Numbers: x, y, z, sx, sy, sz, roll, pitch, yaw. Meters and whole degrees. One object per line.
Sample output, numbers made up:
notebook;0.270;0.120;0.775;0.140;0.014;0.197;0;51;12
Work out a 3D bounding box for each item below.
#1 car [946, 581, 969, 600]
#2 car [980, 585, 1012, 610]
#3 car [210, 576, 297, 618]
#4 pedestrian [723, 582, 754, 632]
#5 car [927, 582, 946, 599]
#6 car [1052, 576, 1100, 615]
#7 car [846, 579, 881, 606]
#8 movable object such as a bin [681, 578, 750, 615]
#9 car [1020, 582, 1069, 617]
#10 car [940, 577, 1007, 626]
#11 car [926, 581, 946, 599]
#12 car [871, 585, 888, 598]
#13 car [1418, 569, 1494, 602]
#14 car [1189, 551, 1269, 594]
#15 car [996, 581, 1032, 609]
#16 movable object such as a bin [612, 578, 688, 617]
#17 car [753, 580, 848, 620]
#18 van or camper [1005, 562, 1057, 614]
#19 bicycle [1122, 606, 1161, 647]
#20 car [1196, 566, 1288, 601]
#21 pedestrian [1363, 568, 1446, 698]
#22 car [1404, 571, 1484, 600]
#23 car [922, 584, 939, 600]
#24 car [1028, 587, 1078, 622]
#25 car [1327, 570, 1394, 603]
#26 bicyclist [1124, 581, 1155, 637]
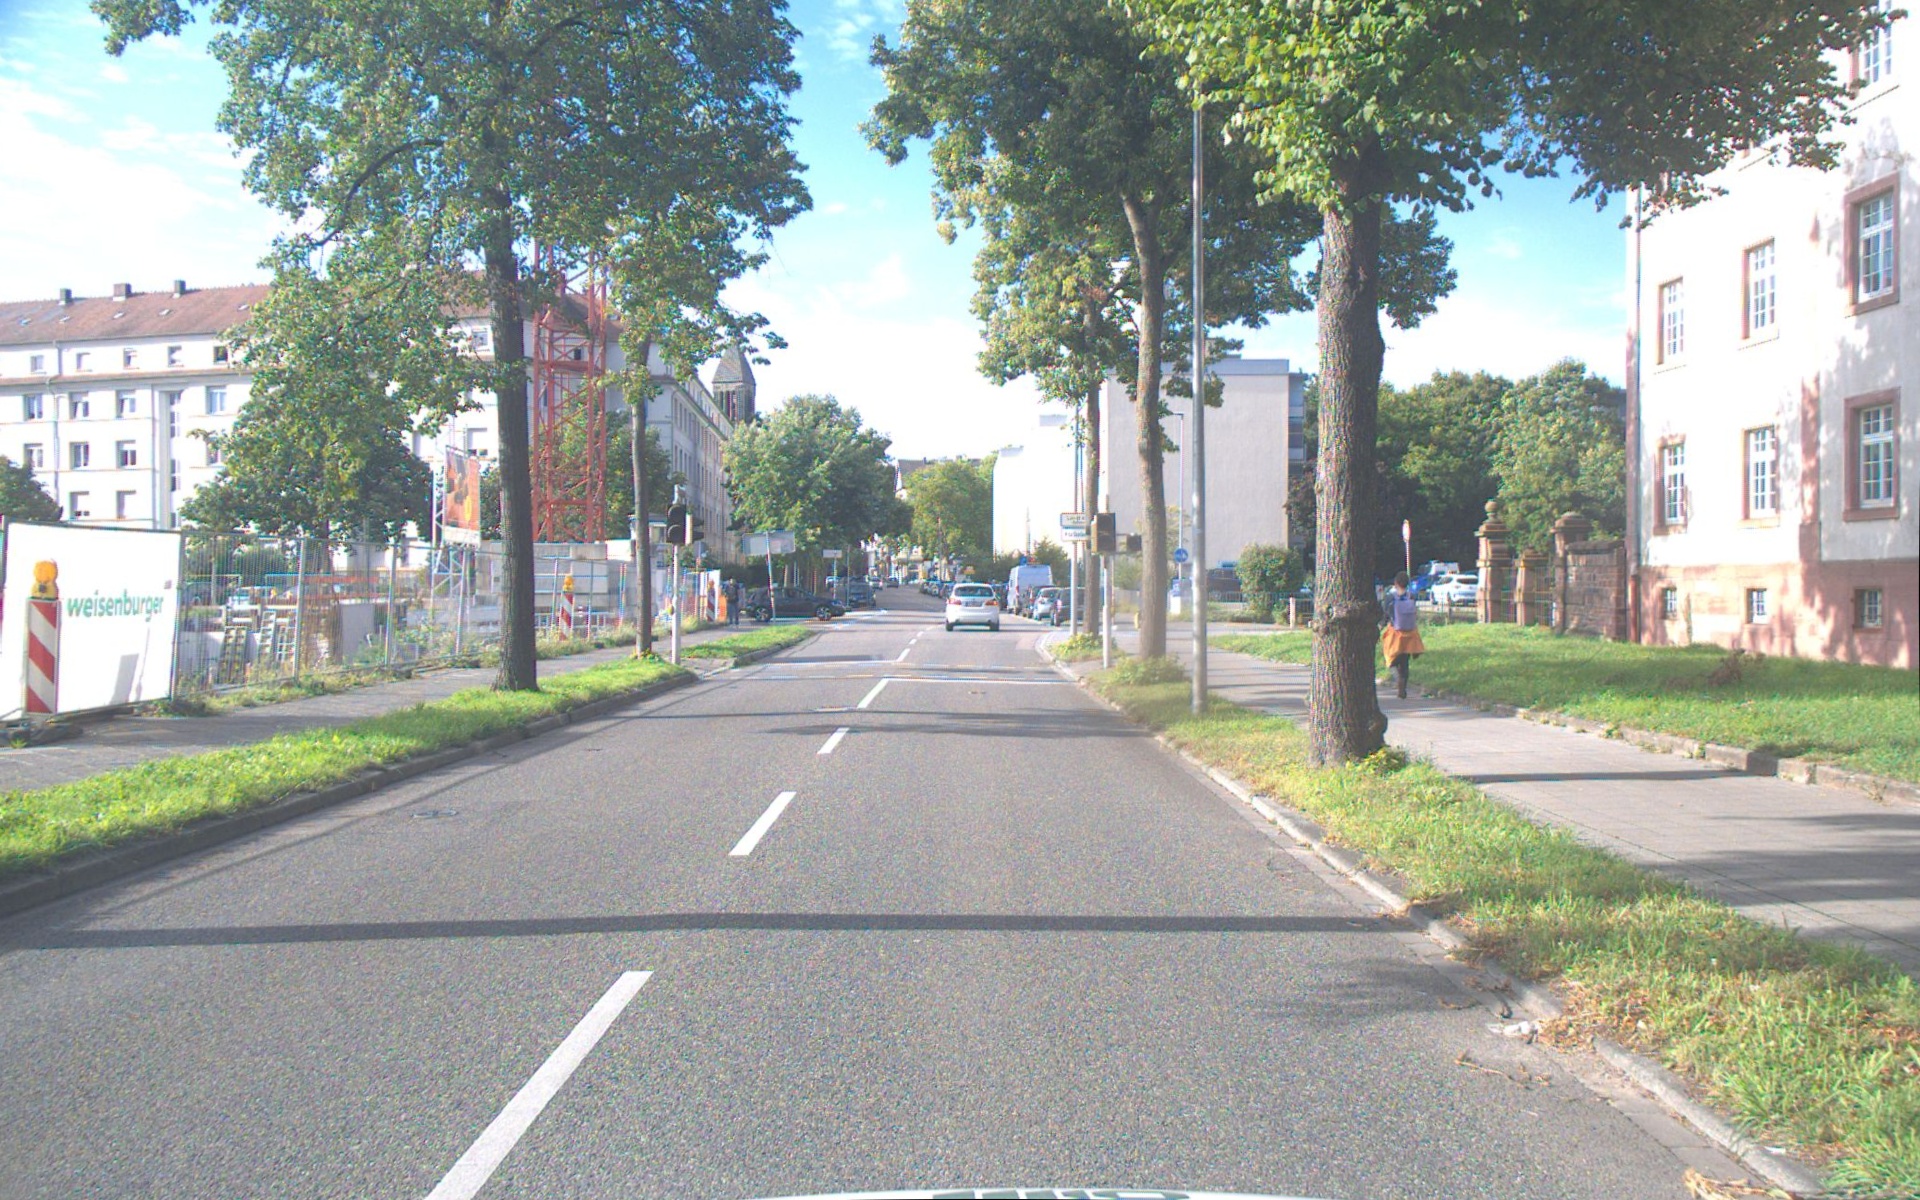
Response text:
car;-0.222;-0.829;147.541;1.953;1.601;3.999;-1;1;-1
car;2.347;-0.178;110.076;1.953;1.601;3.999;-1;1;-1
car;-35.675;-0.166;83.604;1.951;2.049;4.003;-1;1;15
pedestrian;-7.804;0.245;58.173;0.989;1.758;1.174;0;-1;-12
car;-2.469;-0.974;176.155;1.953;1.785;4.000;1;0;0
car;4.585;-0.184;65.802;1.682;1.522;4.268;0;0;1
car;-6.153;-0.495;104.792;1.955;1.668;3.995;-1;1;-7
movable object such as a bin;-12.028;-0.173;81.425;3.037;1.737;1.411;1;0;13
car;4.175;-0.061;82.353;1.954;1.644;4.405;-1;1;-3
car;0.410;0.035;55.978;1.954;1.582;4.271;1;0;-3
car;-2.377;-0.970;166.082;1.953;1.785;4.000;1;0;0
car;-11.025;-1.109;225.398;2.016;1.692;3.921;-1;1;-7
car;23.167;-0.690;77.414;1.956;1.467;3.994;-1;1;-7
car;14.539;-1.462;89.523;4.033;2.224;2.001;-1;1;3
car;3.220;-0.341;99.453;1.953;1.601;3.999;-1;1;-1
movable object such as a bin;-14.308;-0.140;76.393;3.037;1.737;1.549;1;0;14
car;-6.719;-0.011;69.775;3.910;1.598;1.998;1;0;-6
van or camper;3.764;-0.654;88.526;2.166;2.652;5.367;-1;1;-4
bicycle;5.152;0.736;47.093;0.725;1.053;2.762;-3;0;-1
car;14.249;-0.825;83.655;4.355;1.650;2.001;-1;1;3
pedestrian;5.747;0.415;21.411;0.797;1.618;0.769;-3;0;-1
car;27.410;-0.819;93.693;3.906;1.579;2.000;-1;1;-2
car;-3.465;-0.968;196.796;1.953;1.785;4.000;1;0;0
car;4.308;0.194;77.251;1.974;1.500;4.801;-2;0;-1
car;18.746;-0.640;77.557;1.954;1.467;3.998;-1;1;-3
bicyclist;5.121;0.258;47.131;0.722;1.540;0.874;-3;0;-1
